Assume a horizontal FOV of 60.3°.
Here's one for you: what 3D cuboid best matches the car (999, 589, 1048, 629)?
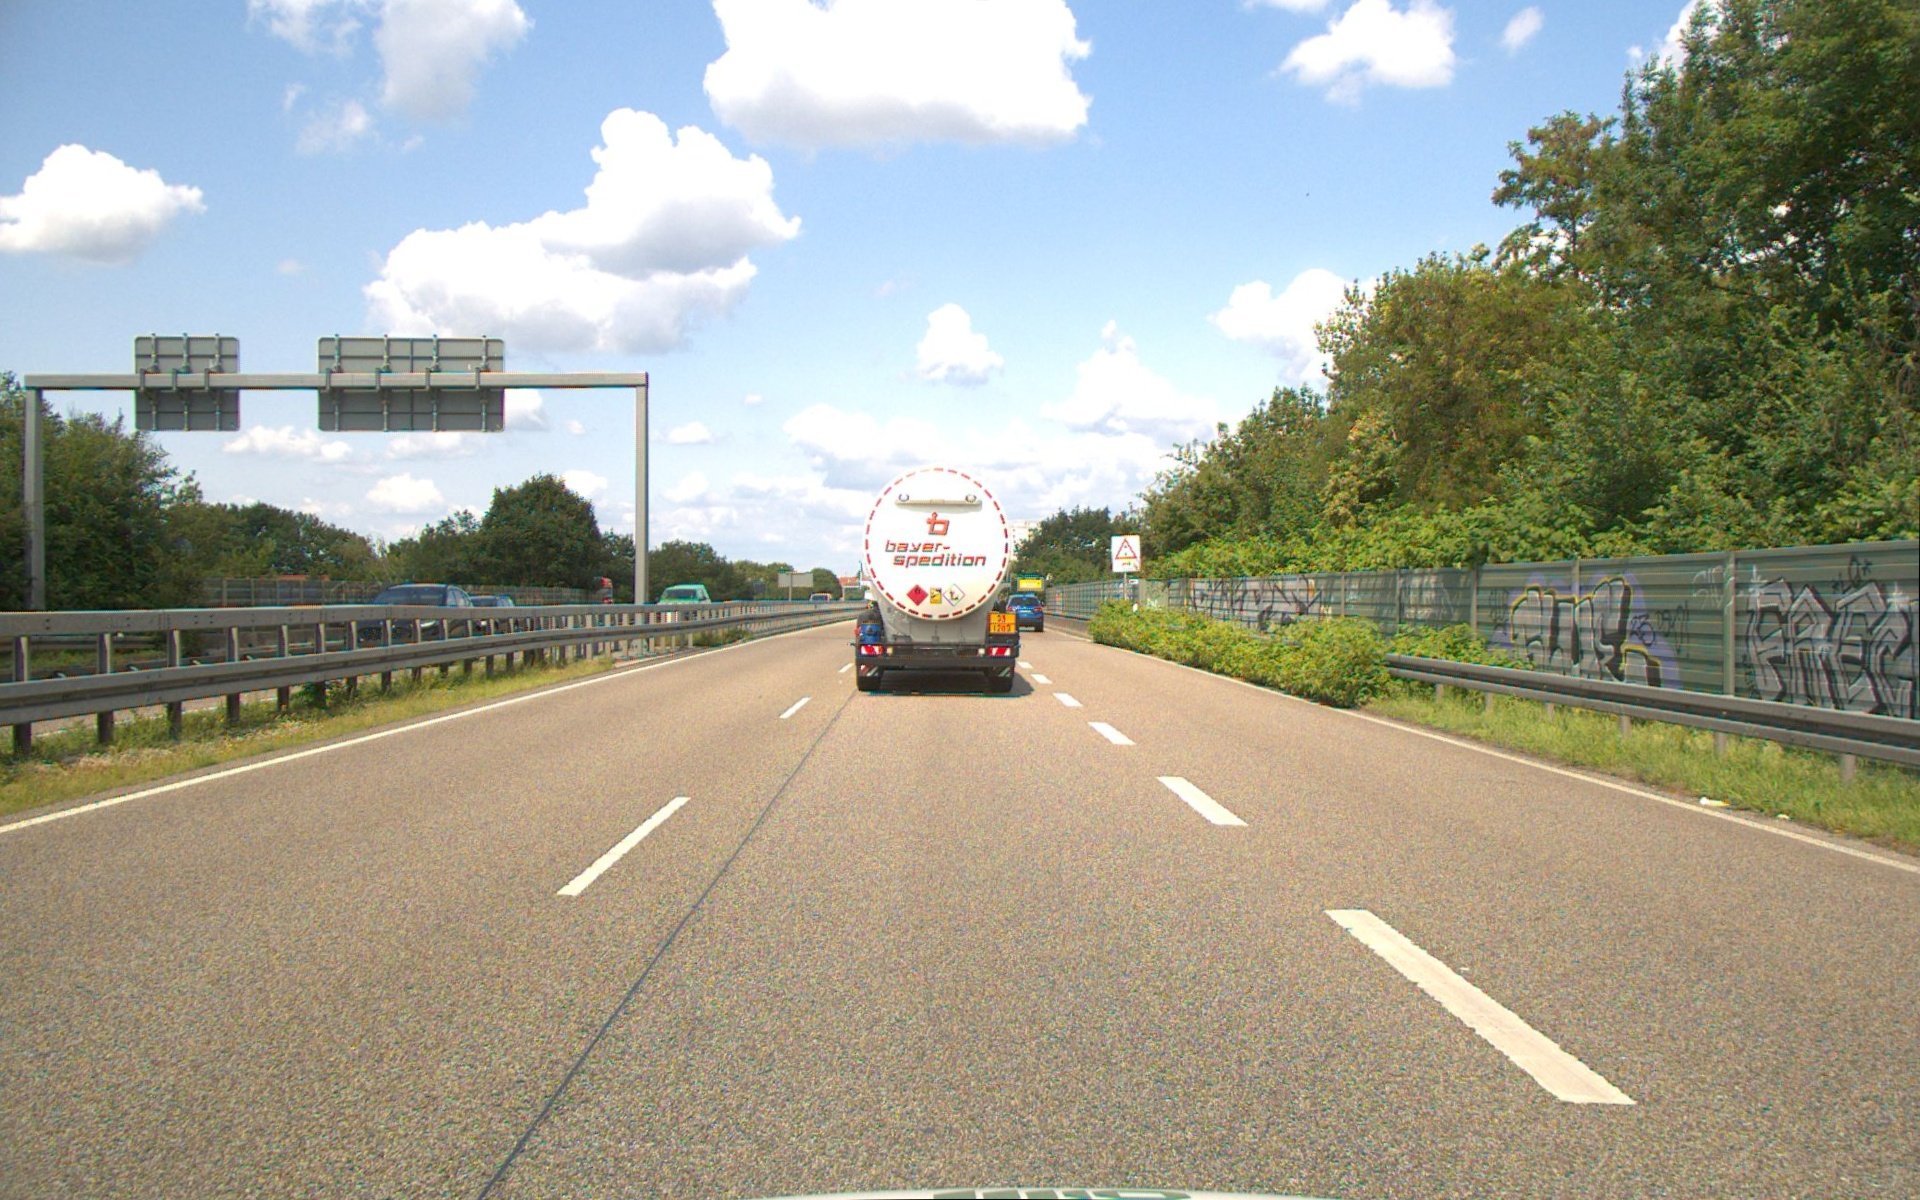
[{"bbox_3d":[2.845,0.398,74.670,1.953,1.736,3.999,1,0,-1],"label":"car"}]

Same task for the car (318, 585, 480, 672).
[{"bbox_3d":[-11.380,0.557,33.839,1.953,1.625,4.131,1,0,-1],"label":"car"}]

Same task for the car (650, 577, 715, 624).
[{"bbox_3d":[-11.797,0.014,70.665,1.953,1.896,5.391,1,0,-1],"label":"car"}]

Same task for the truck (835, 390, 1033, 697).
[{"bbox_3d":[-0.437,-0.813,28.234,2.836,4.445,8.027,1,0,-1],"label":"truck"}]
